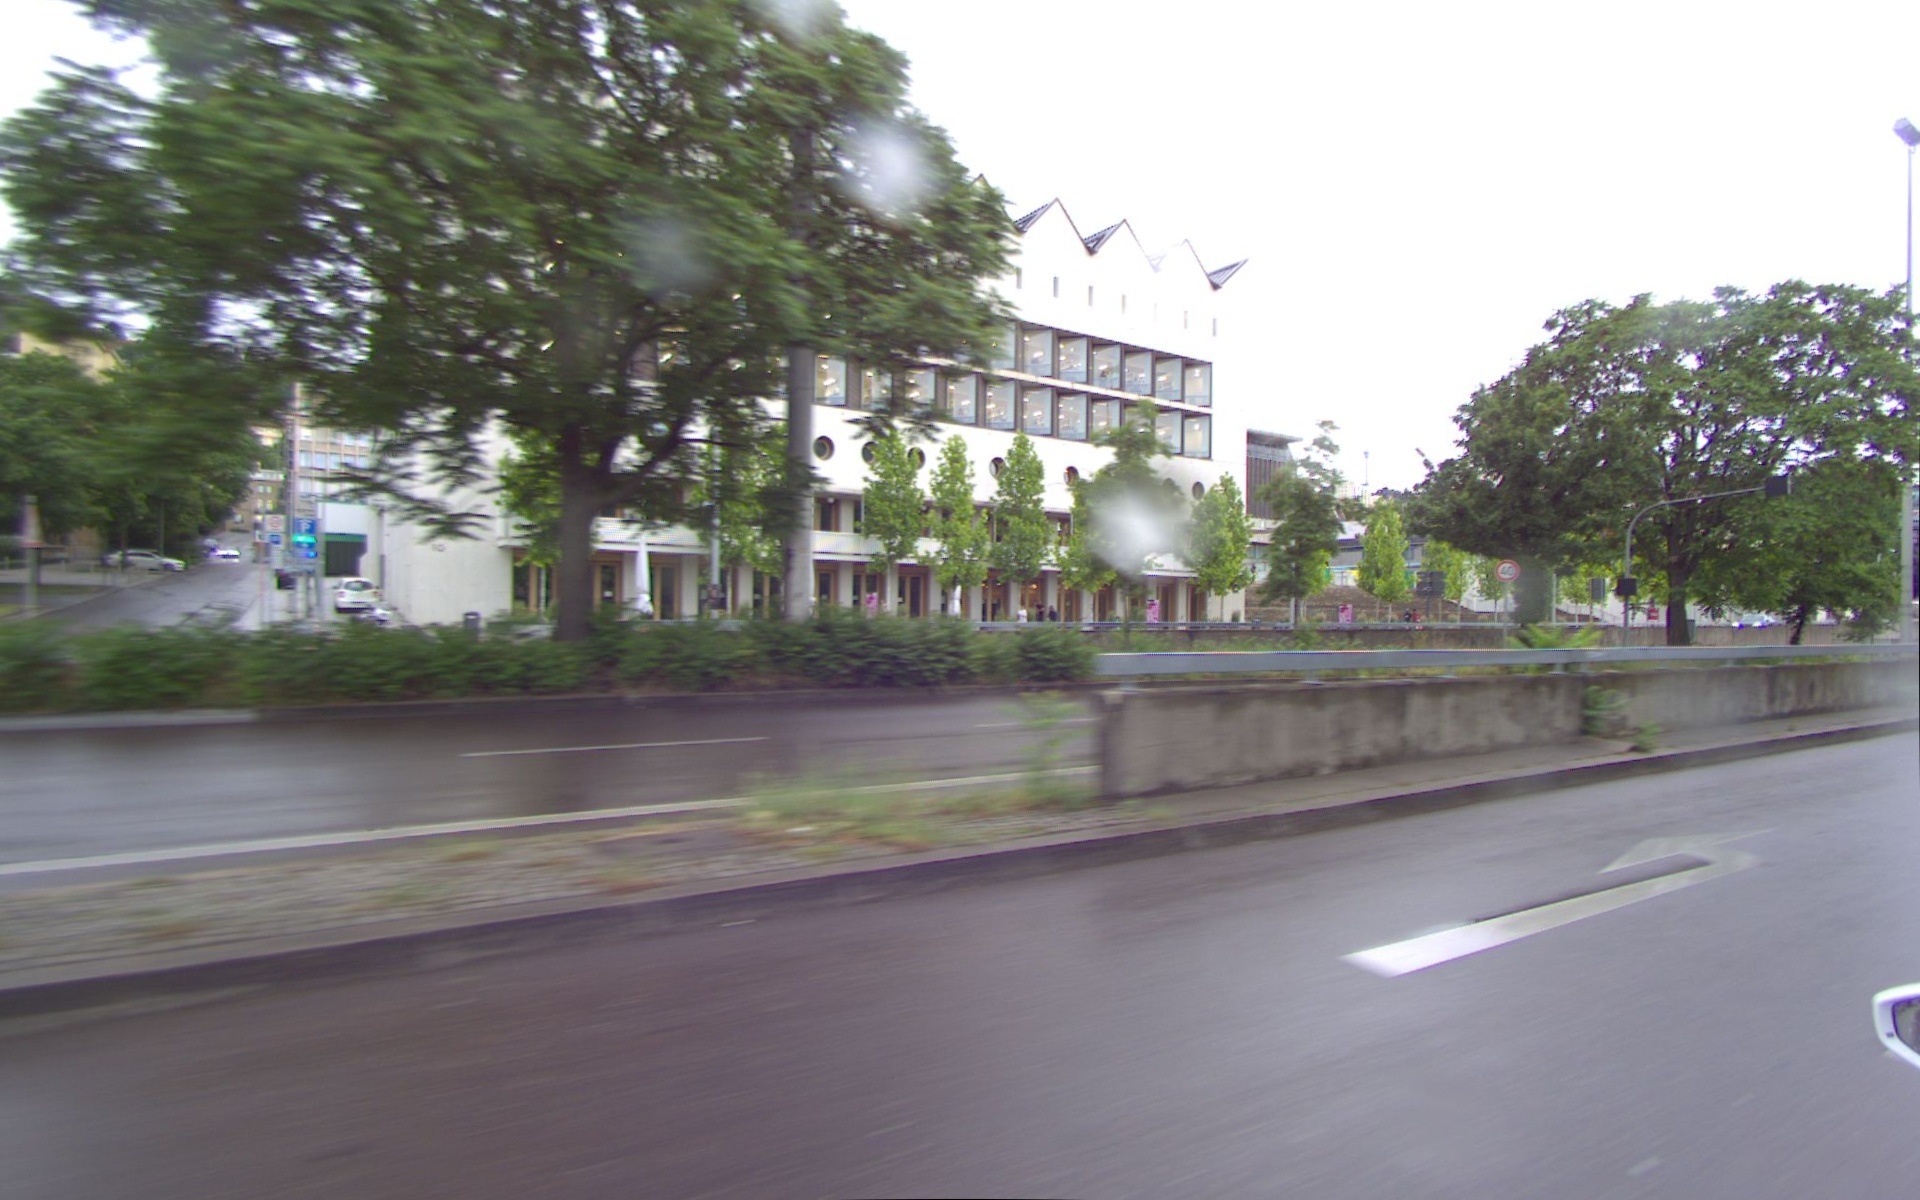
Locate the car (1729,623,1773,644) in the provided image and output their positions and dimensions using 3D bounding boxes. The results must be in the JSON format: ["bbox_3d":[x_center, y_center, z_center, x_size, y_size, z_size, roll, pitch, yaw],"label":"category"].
[{"bbox_3d":[61.311,2.598,77.880,2.998,1.581,1.718,2,1,-31],"label":"car"}]

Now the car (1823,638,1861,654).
[{"bbox_3d":[68.313,3.532,77.801,3.019,1.144,1.478,2,0,-34],"label":"car"}]

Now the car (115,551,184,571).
[{"bbox_3d":[-61.902,-2.975,76.773,3.923,1.383,1.594,2,1,-34],"label":"car"}]

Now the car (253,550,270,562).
[{"bbox_3d":[-89.524,-5.643,128.817,1.575,1.499,3.154,1,1,-31],"label":"car"}]

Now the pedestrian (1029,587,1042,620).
[{"bbox_3d":[4.425,0.205,58.859,0.687,1.883,0.741,2,1,10],"label":"pedestrian"}]

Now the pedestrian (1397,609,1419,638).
[{"bbox_3d":[30.351,1.596,68.093,0.823,1.891,1.076,1,1,-39],"label":"pedestrian"}]

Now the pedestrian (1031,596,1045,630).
[{"bbox_3d":[4.329,0.708,55.643,0.687,1.883,0.741,2,1,10],"label":"pedestrian"}]

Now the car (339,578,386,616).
[{"bbox_3d":[-27.262,-0.139,45.813,1.741,1.633,3.502,1,1,-31],"label":"car"}]

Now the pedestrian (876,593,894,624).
[{"bbox_3d":[-3.784,0.439,50.756,0.644,1.535,0.674,1,1,-35],"label":"pedestrian"}]

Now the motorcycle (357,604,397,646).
[{"bbox_3d":[-17.915,0.765,30.873,1.792,1.198,0.603,2,1,45],"label":"motorcycle"}]

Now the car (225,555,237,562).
[{"bbox_3d":[-97.546,-5.578,134.432,0.998,0.927,2.491,1,0,-31],"label":"car"}]

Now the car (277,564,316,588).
[{"bbox_3d":[-42.836,-1.554,64.898,2.015,1.480,3.699,1,0,-32],"label":"car"}]

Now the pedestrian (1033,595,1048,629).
[{"bbox_3d":[4.514,0.683,56.442,0.687,1.883,0.741,2,1,10],"label":"pedestrian"}]
